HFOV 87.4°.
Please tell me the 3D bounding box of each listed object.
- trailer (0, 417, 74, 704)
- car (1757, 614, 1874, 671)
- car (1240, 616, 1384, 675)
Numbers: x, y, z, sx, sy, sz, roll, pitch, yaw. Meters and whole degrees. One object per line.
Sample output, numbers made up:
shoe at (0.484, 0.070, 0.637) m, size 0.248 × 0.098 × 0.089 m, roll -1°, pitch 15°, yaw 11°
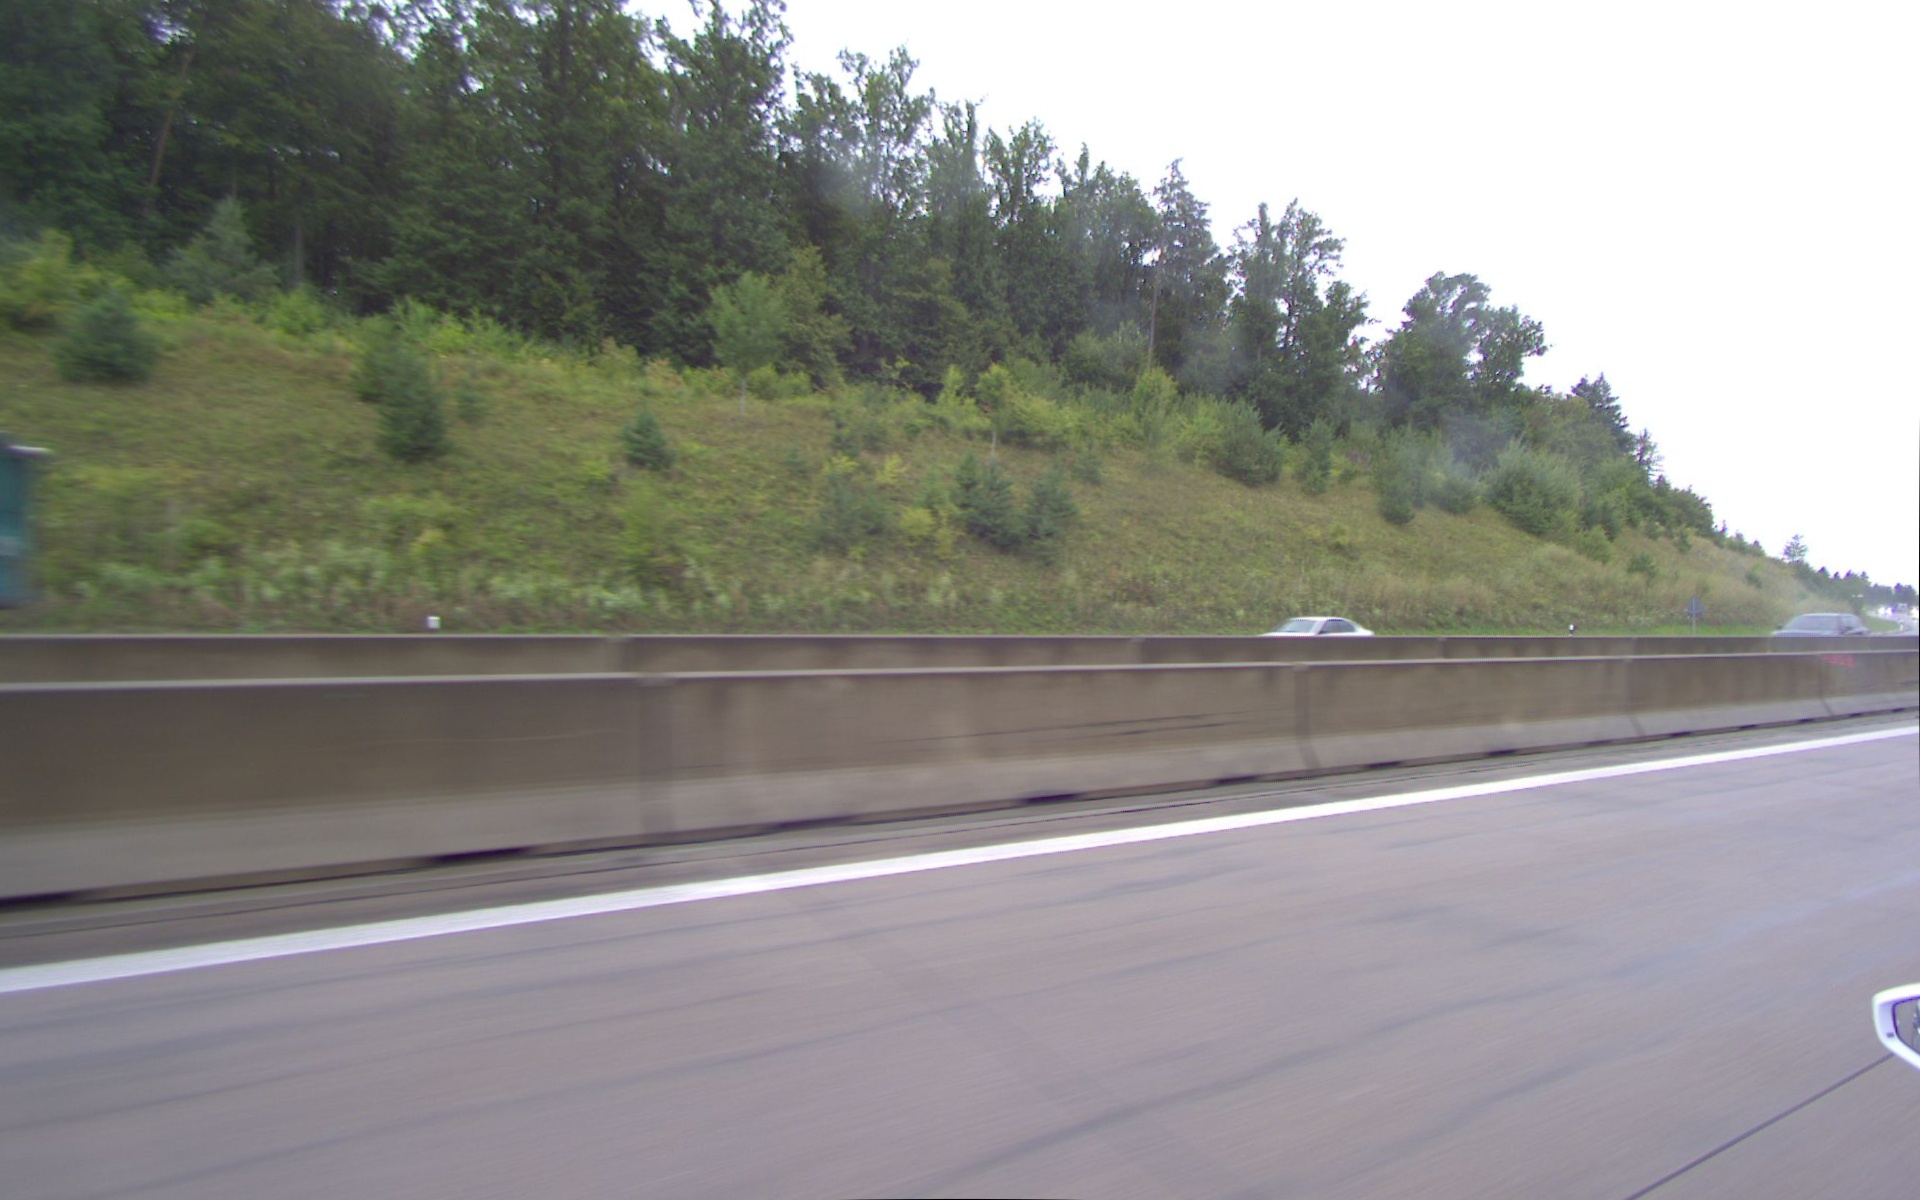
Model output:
trailer at (-18.430, -0.652, 12.294) m, size 10.907 × 3.941 × 2.892 m, roll 1°, pitch 0°, yaw -31°
car at (28.806, 1.415, 33.781) m, size 4.707 × 1.800 × 1.721 m, roll 1°, pitch -1°, yaw -33°
car at (10.362, 1.315, 29.532) m, size 4.195 × 1.597 × 1.722 m, roll 1°, pitch -1°, yaw -31°
